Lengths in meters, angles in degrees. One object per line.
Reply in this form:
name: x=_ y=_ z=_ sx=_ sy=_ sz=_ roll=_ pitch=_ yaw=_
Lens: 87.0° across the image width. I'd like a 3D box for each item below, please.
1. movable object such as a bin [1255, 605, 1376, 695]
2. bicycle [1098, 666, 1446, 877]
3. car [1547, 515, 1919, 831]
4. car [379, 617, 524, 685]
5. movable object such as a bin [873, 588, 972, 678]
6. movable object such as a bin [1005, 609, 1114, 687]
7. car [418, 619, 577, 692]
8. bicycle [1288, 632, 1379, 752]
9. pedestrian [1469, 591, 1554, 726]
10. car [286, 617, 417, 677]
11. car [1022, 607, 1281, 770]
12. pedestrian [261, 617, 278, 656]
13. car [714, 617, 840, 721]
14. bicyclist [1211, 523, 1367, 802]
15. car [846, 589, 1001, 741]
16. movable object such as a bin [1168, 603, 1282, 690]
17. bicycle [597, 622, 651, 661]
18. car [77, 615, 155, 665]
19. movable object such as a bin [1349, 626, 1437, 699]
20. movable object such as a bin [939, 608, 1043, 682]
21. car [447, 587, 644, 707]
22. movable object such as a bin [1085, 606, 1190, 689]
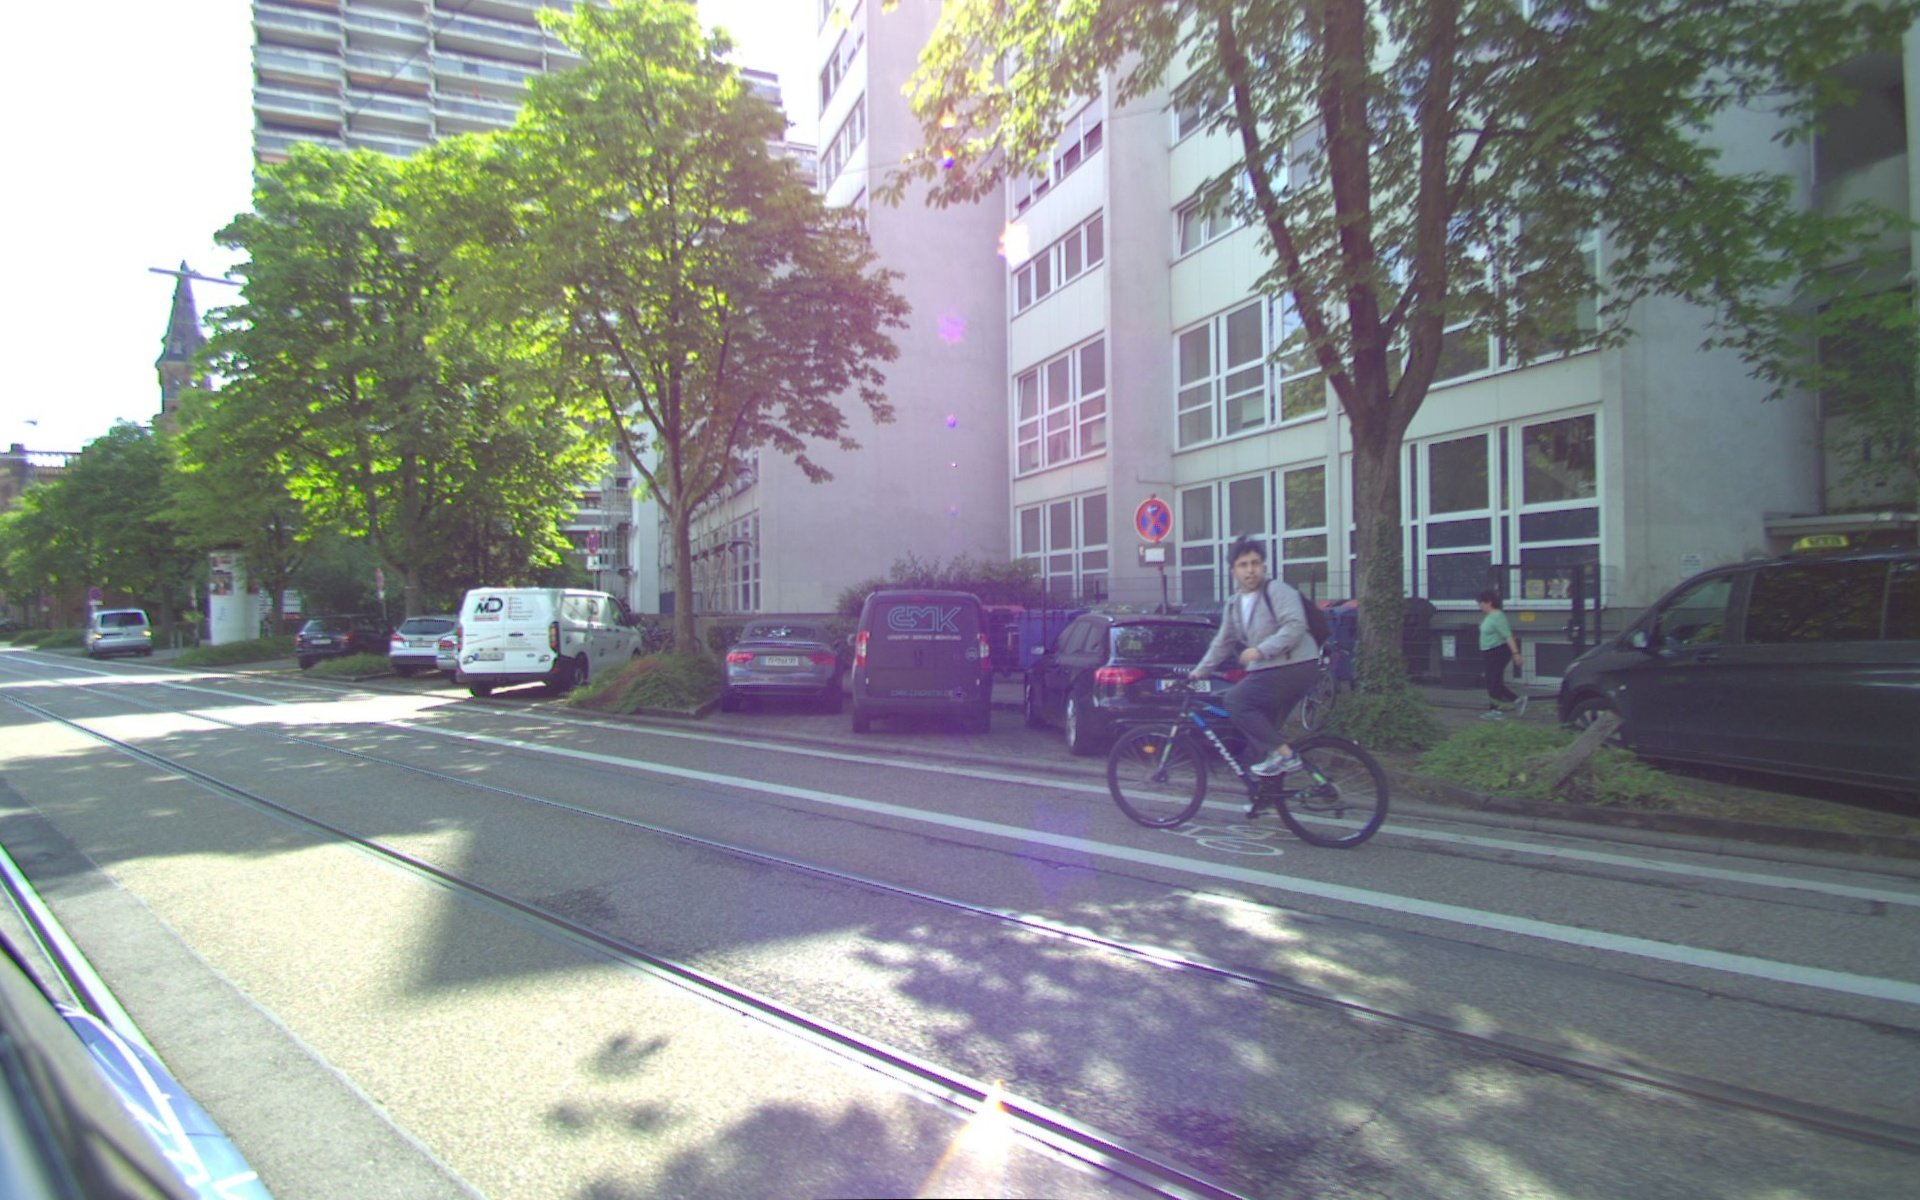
movable object such as a bin: x=5.445 y=0.761 z=15.502 sx=1.441 sy=1.293 sz=1.156 roll=-1 pitch=-4 yaw=40
bicycle: x=1.890 y=0.981 z=6.351 sx=1.998 sy=1.048 sz=0.649 roll=-1 pitch=-1 yaw=39
car: x=6.853 y=0.499 z=7.274 sx=1.887 sy=1.969 sz=5.173 roll=1 pitch=-2 yaw=-5
car: x=-12.523 y=1.192 z=25.219 sx=1.794 sy=1.512 sz=4.197 roll=-1 pitch=-1 yaw=-5
movable object such as a bin: x=-0.778 y=0.691 z=21.169 sx=1.537 sy=1.795 sz=1.374 roll=-1 pitch=-3 yaw=37
movable object such as a bin: x=1.866 y=0.889 z=18.963 sx=1.537 sy=1.374 sz=1.374 roll=-1 pitch=-3 yaw=37
car: x=-10.355 y=1.184 z=23.016 sx=1.796 sy=1.461 sz=4.172 roll=-1 pitch=-1 yaw=-1
bicycle: x=3.961 y=0.920 z=10.854 sx=0.577 sy=1.127 sz=1.994 roll=0 pitch=-1 yaw=11
pedestrian: x=6.780 y=0.698 z=12.471 sx=0.877 sy=1.588 sz=0.639 roll=-1 pitch=-1 yaw=27
car: x=-17.530 y=1.304 z=29.373 sx=1.716 sy=1.535 sz=3.890 roll=-1 pitch=0 yaw=-5
car: x=1.826 y=0.864 z=10.960 sx=1.734 sy=1.428 sz=4.004 roll=1 pitch=-2 yaw=-5
pedestrian: x=-32.416 y=1.729 z=47.489 sx=0.517 sy=1.767 sz=0.636 roll=-3 pitch=3 yaw=-42
car: x=-2.893 y=1.040 z=16.021 sx=1.694 sy=1.428 sz=4.008 roll=1 pitch=-2 yaw=-10
bicyclist: x=2.030 y=0.359 z=6.250 sx=0.741 sy=1.588 sz=0.635 roll=-1 pitch=-1 yaw=38
car: x=-0.494 y=0.807 z=13.301 sx=1.735 sy=1.706 sz=3.717 roll=1 pitch=-2 yaw=-2
movable object such as a bin: x=4.303 y=0.747 z=16.429 sx=1.441 sy=1.337 sz=1.152 roll=-1 pitch=-4 yaw=40
bicycle: x=-10.662 y=1.311 z=32.122 sx=1.553 sy=1.171 sz=0.544 roll=-1 pitch=-3 yaw=-25
car: x=-35.166 y=1.600 z=42.118 sx=4.236 sy=1.865 sz=1.867 roll=-1 pitch=2 yaw=43
movable object such as a bin: x=6.252 y=0.895 z=14.599 sx=0.934 sy=0.994 sz=0.954 roll=-1 pitch=-4 yaw=40
movable object such as a bin: x=0.612 y=0.883 z=19.994 sx=1.537 sy=1.374 sz=1.374 roll=-1 pitch=-3 yaw=37
car: x=-7.802 y=0.829 z=19.596 sx=1.941 sy=2.012 sz=4.686 roll=-1 pitch=-1 yaw=-1
movable object such as a bin: x=3.138 y=0.836 z=17.897 sx=1.440 sy=1.391 sz=1.181 roll=-1 pitch=-3 yaw=38
